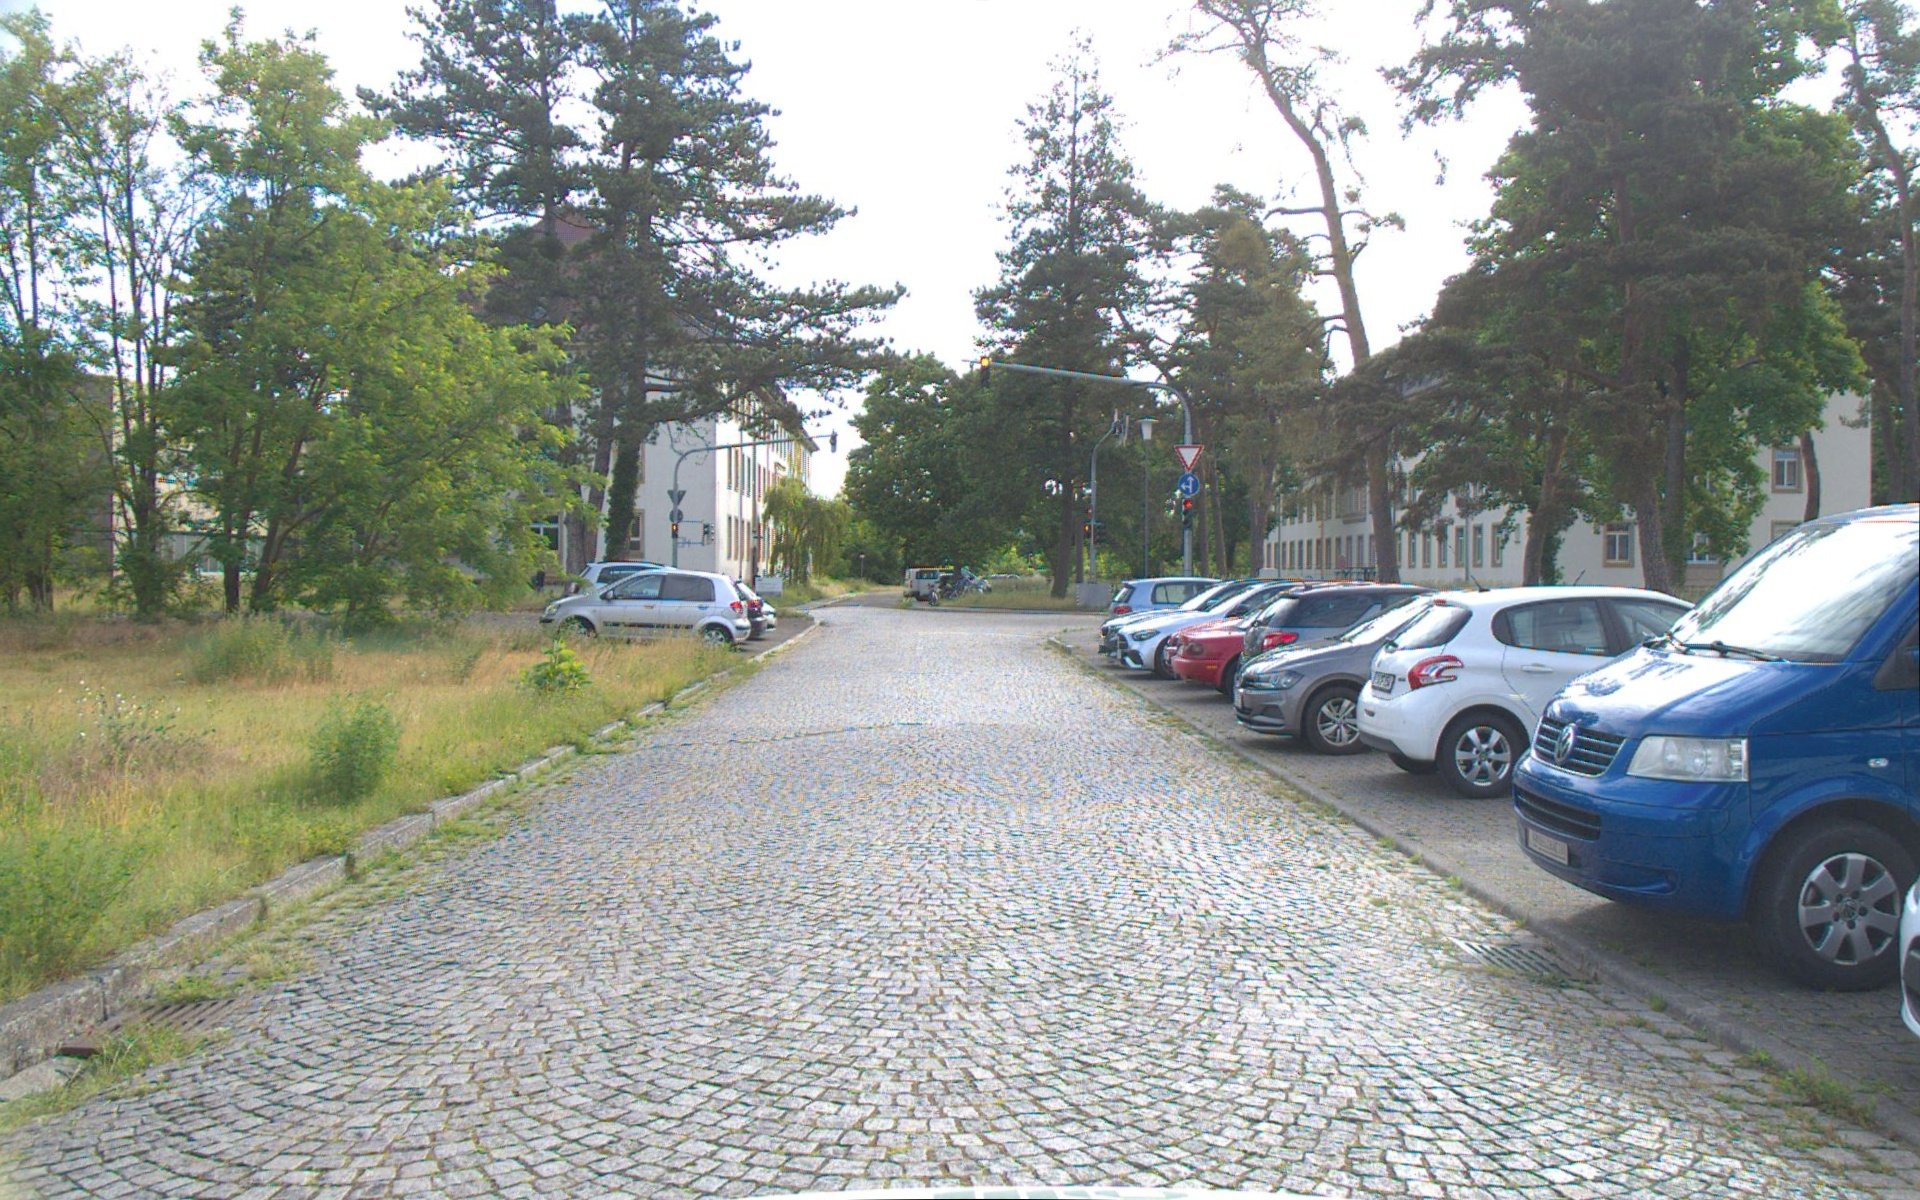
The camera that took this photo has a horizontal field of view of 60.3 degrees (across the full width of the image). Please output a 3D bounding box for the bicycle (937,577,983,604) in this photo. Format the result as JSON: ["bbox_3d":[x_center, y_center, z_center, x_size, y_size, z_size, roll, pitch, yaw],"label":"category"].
[{"bbox_3d":[0.000,-0.489,80.605,2.120,1.290,0.811,0,1,-8],"label":"bicycle"}]

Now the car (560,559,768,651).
[{"bbox_3d":[-5.746,0.070,32.540,3.912,1.735,1.997,0,1,-8],"label":"car"}]

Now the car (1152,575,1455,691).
[{"bbox_3d":[4.843,0.448,23.559,3.911,1.570,1.661,0,1,-7],"label":"car"}]

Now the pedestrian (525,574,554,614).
[{"bbox_3d":[-16.243,-0.228,63.857,0.880,1.524,0.904,1,1,-1],"label":"pedestrian"}]

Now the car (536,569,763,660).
[{"bbox_3d":[-5.563,0.238,30.056,3.912,1.579,1.997,0,1,-8],"label":"car"}]

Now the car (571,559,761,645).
[{"bbox_3d":[-6.269,0.037,35.595,3.913,1.780,1.923,0,1,-9],"label":"car"}]

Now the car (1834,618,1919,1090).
[{"bbox_3d":[4.818,0.769,4.878,3.649,1.449,1.653,-1,1,-4],"label":"car"}]

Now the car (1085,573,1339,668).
[{"bbox_3d":[4.316,0.328,28.591,4.044,1.570,1.662,0,1,-7],"label":"car"}]

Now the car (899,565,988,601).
[{"bbox_3d":[-0.972,-0.984,97.812,4.962,2.049,1.994,0,1,-12],"label":"car"}]

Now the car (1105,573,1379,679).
[{"bbox_3d":[4.351,0.373,25.774,3.911,1.570,1.662,0,1,-7],"label":"car"}]

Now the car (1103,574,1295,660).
[{"bbox_3d":[4.477,0.305,31.167,3.324,1.570,1.389,0,1,-7],"label":"car"}]

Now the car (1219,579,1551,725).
[{"bbox_3d":[4.727,0.539,18.593,3.234,1.530,1.659,0,1,-12],"label":"car"}]

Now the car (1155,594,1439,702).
[{"bbox_3d":[4.287,0.590,21.296,3.230,1.289,1.662,0,1,-7],"label":"car"}]

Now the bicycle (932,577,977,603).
[{"bbox_3d":[-0.261,-0.500,81.811,2.120,1.290,0.811,0,1,-8],"label":"bicycle"}]

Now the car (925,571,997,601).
[{"bbox_3d":[0.053,-0.810,94.566,3.912,1.673,1.997,0,1,-8],"label":"car"}]

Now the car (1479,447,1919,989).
[{"bbox_3d":[4.927,0.450,7.363,4.687,2.075,1.737,0,1,-4],"label":"car"}]

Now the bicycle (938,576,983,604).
[{"bbox_3d":[0.019,-0.486,80.018,2.120,1.290,0.811,0,1,-8],"label":"bicycle"}]

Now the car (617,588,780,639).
[{"bbox_3d":[-5.936,0.302,37.806,3.601,1.113,1.644,0,1,-8],"label":"car"}]

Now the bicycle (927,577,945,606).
[{"bbox_3d":[-1.119,-0.401,76.224,0.793,1.290,1.973,0,1,0],"label":"bicycle"}]

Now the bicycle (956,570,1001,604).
[{"bbox_3d":[0.897,-0.646,81.340,2.120,1.644,0.811,0,1,-8],"label":"bicycle"}]

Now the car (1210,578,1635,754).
[{"bbox_3d":[4.334,0.569,15.702,3.535,1.533,1.659,0,1,-12],"label":"car"}]

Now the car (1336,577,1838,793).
[{"bbox_3d":[4.728,0.603,12.760,3.227,1.531,1.663,0,1,-4],"label":"car"}]
